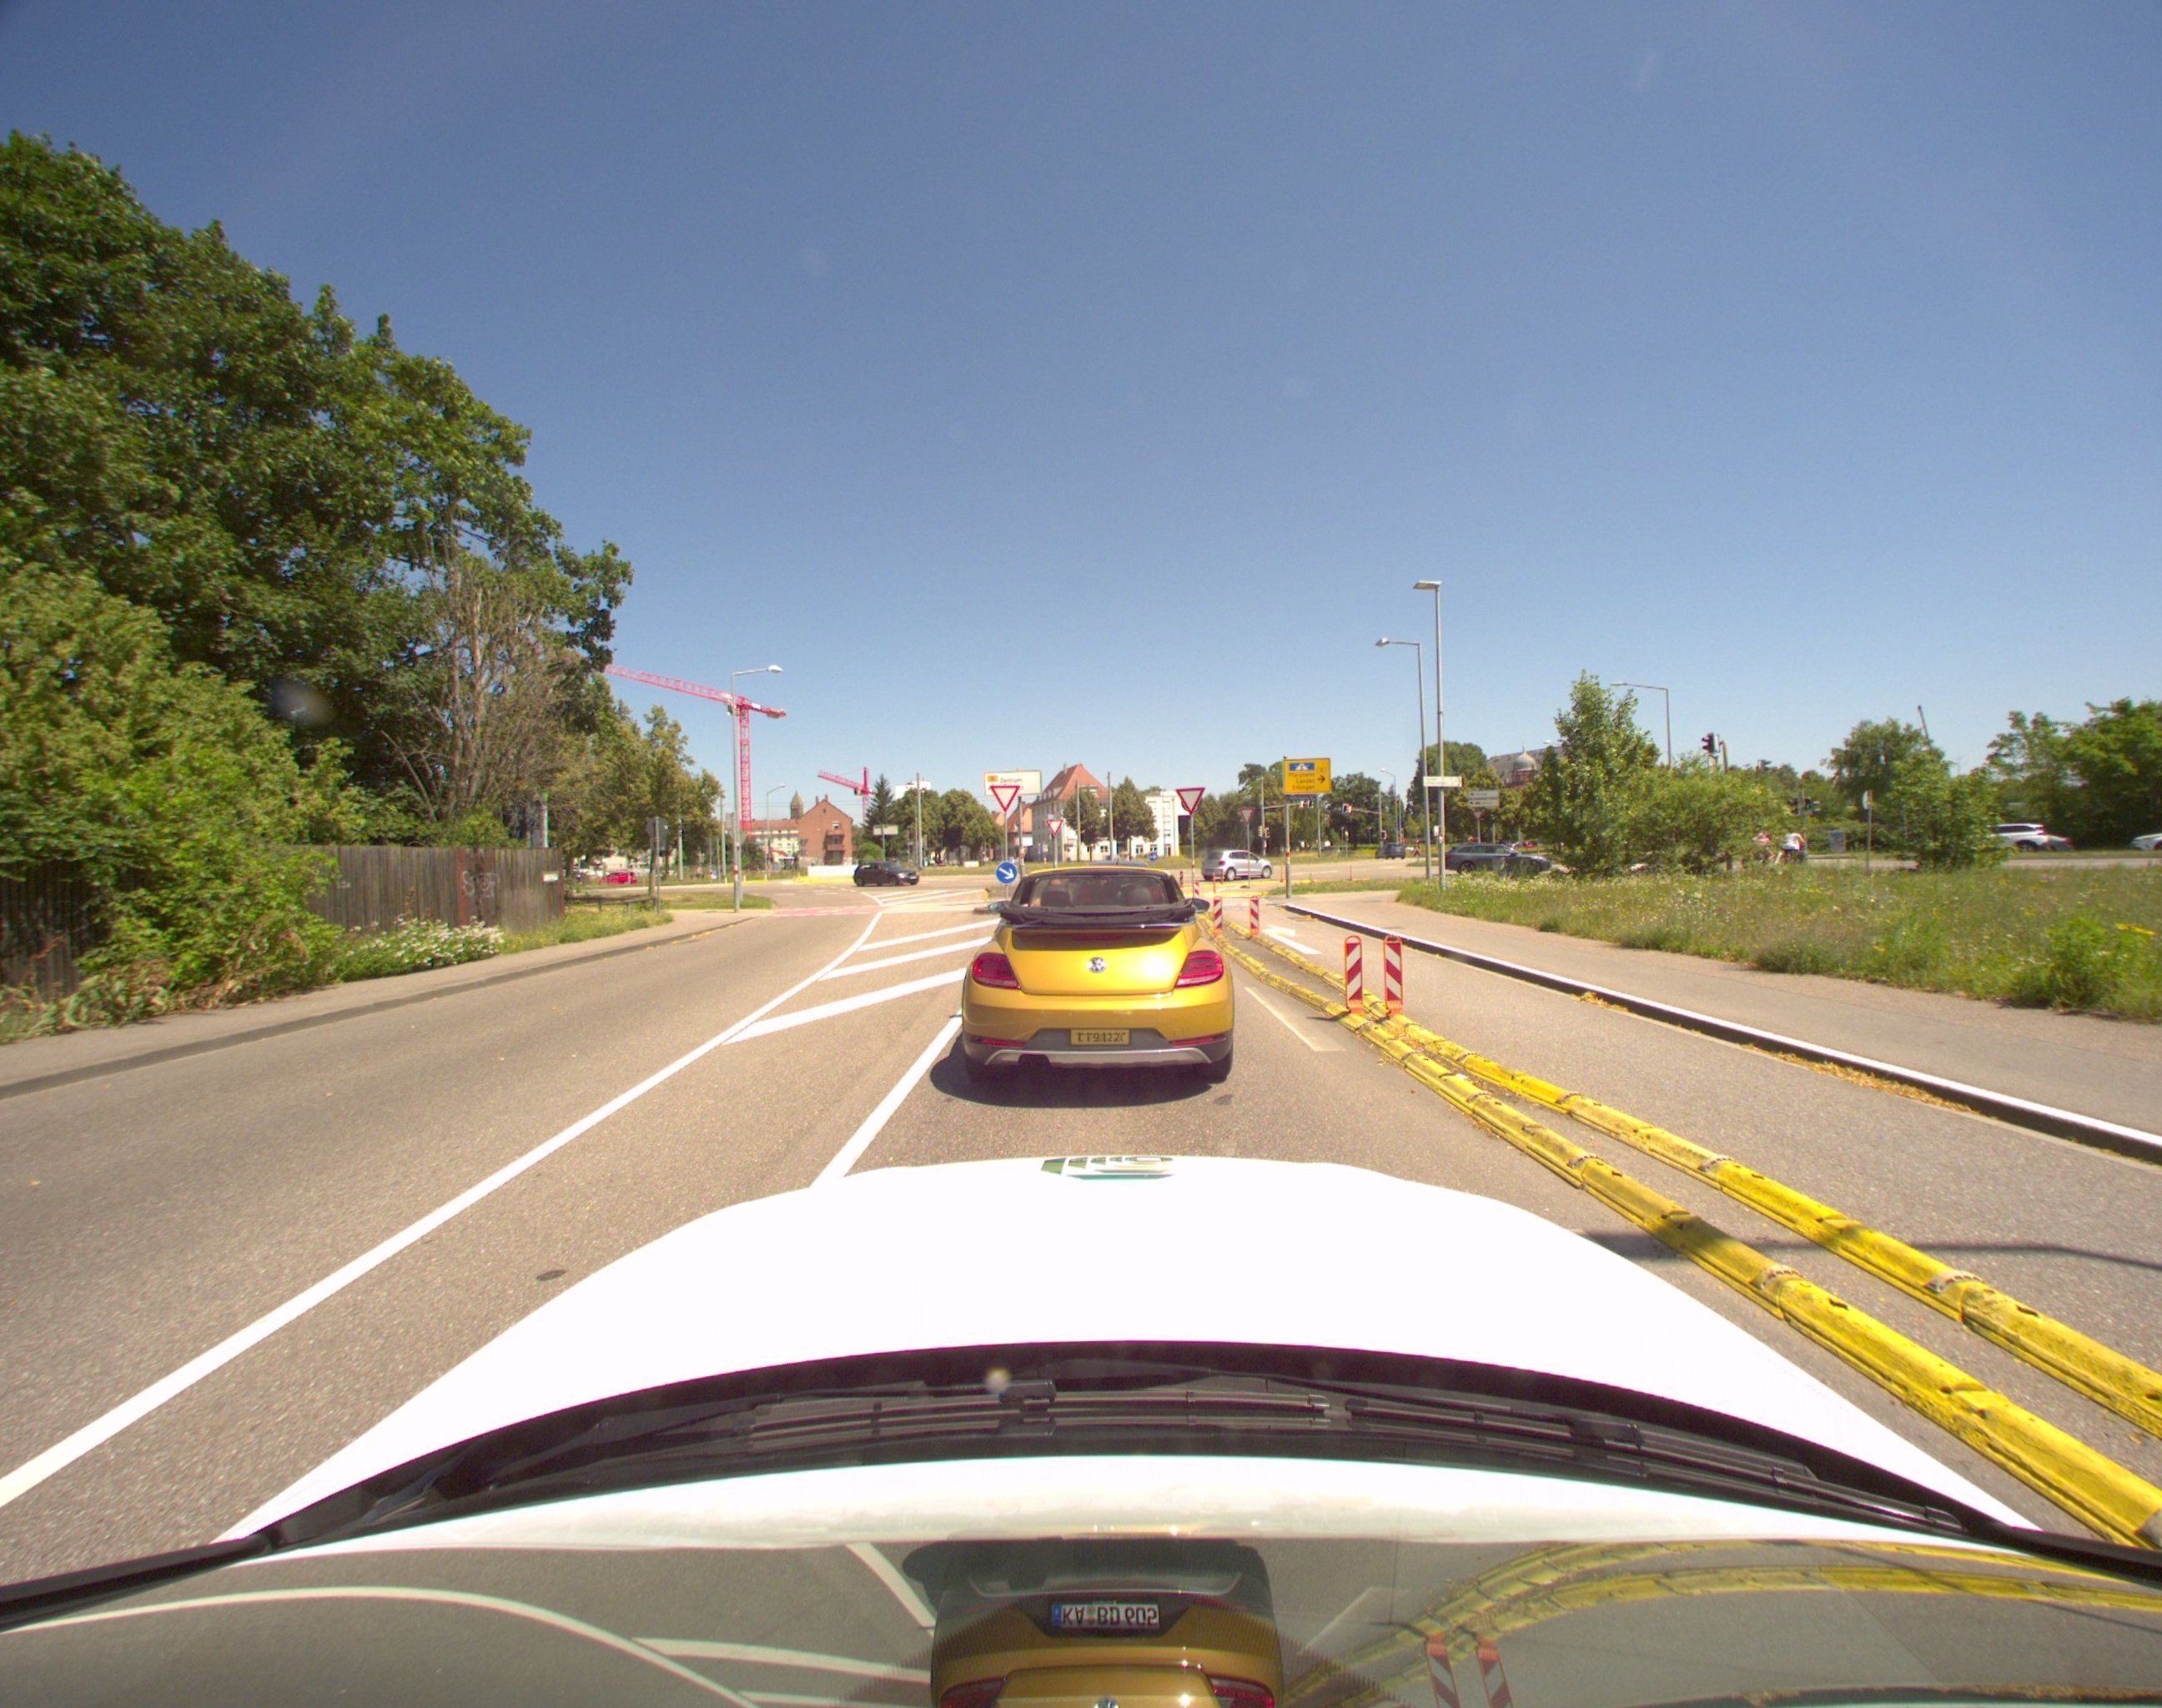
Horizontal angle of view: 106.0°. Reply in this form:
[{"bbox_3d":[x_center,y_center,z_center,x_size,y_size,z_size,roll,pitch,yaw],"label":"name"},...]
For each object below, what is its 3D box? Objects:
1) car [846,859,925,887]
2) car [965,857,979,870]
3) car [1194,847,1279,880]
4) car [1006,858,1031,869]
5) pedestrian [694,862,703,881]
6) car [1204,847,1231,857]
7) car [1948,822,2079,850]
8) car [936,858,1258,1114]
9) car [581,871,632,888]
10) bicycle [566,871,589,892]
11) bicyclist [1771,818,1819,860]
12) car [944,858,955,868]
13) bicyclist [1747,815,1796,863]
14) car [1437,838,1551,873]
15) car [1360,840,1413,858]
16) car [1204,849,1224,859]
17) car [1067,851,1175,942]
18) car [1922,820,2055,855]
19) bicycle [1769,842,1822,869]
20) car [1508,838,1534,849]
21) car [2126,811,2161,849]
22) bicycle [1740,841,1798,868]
[{"bbox_3d":[-11.064,1.062,46.108,4.031,1.403,1.763,-2,1,24],"label":"car"},{"bbox_3d":[-16.992,1.424,126.739,1.994,2.014,3.985,0,-1,-11],"label":"car"},{"bbox_3d":[7.581,0.452,39.551,4.018,1.422,1.762,-2,0,-36],"label":"car"},{"bbox_3d":[-10.229,1.559,133.502,3.977,1.618,1.998,0,-1,-2],"label":"car"},{"bbox_3d":[-41.459,1.886,88.284,0.599,2.014,0.595,0,-1,1],"label":"pedestrian"},{"bbox_3d":[22.056,-0.328,131.622,3.988,1.684,1.993,0,-1,-11],"label":"car"},{"bbox_3d":[48.978,-0.942,42.935,4.352,1.270,1.876,-2,0,44],"label":"car"},{"bbox_3d":[0.147,0.764,6.481,1.819,1.403,3.663,-1,0,2],"label":"car"},{"bbox_3d":[-48.383,2.591,83.179,4.071,1.403,1.746,-2,1,-13],"label":"car"},{"bbox_3d":[-42.374,2.298,68.569,0.555,1.684,2.088,0,-1,4],"label":"bicycle"},{"bbox_3d":[26.652,-0.557,30.415,1.189,1.531,0.951,-3,1,-28],"label":"bicyclist"},{"bbox_3d":[-26.958,1.821,167.134,1.994,2.014,3.985,0,-1,-11],"label":"car"},{"bbox_3d":[23.503,-0.494,27.718,1.190,1.610,0.950,-1,-1,-33],"label":"bicyclist"},{"bbox_3d":[18.738,0.085,37.195,4.404,1.418,2.010,-2,0,19],"label":"car"},{"bbox_3d":[26.618,-0.411,71.045,2.006,1.464,3.962,0,-1,-30],"label":"car"},{"bbox_3d":[27.586,0.024,168.627,3.956,2.014,2.009,-1,-1,16],"label":"car"},{"bbox_3d":[0.649,0.706,15.773,1.792,1.440,3.998,-2,1,-1],"label":"car"},{"bbox_3d":[45.894,-0.826,41.358,4.352,1.618,1.876,-2,0,44],"label":"car"},{"bbox_3d":[26.726,0.058,30.458,1.766,0.900,0.891,-3,2,-27],"label":"bicycle"},{"bbox_3d":[82.584,-2.015,152.730,3.949,2.014,2.012,-1,-1,41],"label":"car"},{"bbox_3d":[51.188,-1.159,36.945,4.352,1.683,1.876,-2,0,44],"label":"car"},{"bbox_3d":[23.434,0.009,27.729,2.234,0.900,0.889,-1,1,-33],"label":"bicycle"}]
